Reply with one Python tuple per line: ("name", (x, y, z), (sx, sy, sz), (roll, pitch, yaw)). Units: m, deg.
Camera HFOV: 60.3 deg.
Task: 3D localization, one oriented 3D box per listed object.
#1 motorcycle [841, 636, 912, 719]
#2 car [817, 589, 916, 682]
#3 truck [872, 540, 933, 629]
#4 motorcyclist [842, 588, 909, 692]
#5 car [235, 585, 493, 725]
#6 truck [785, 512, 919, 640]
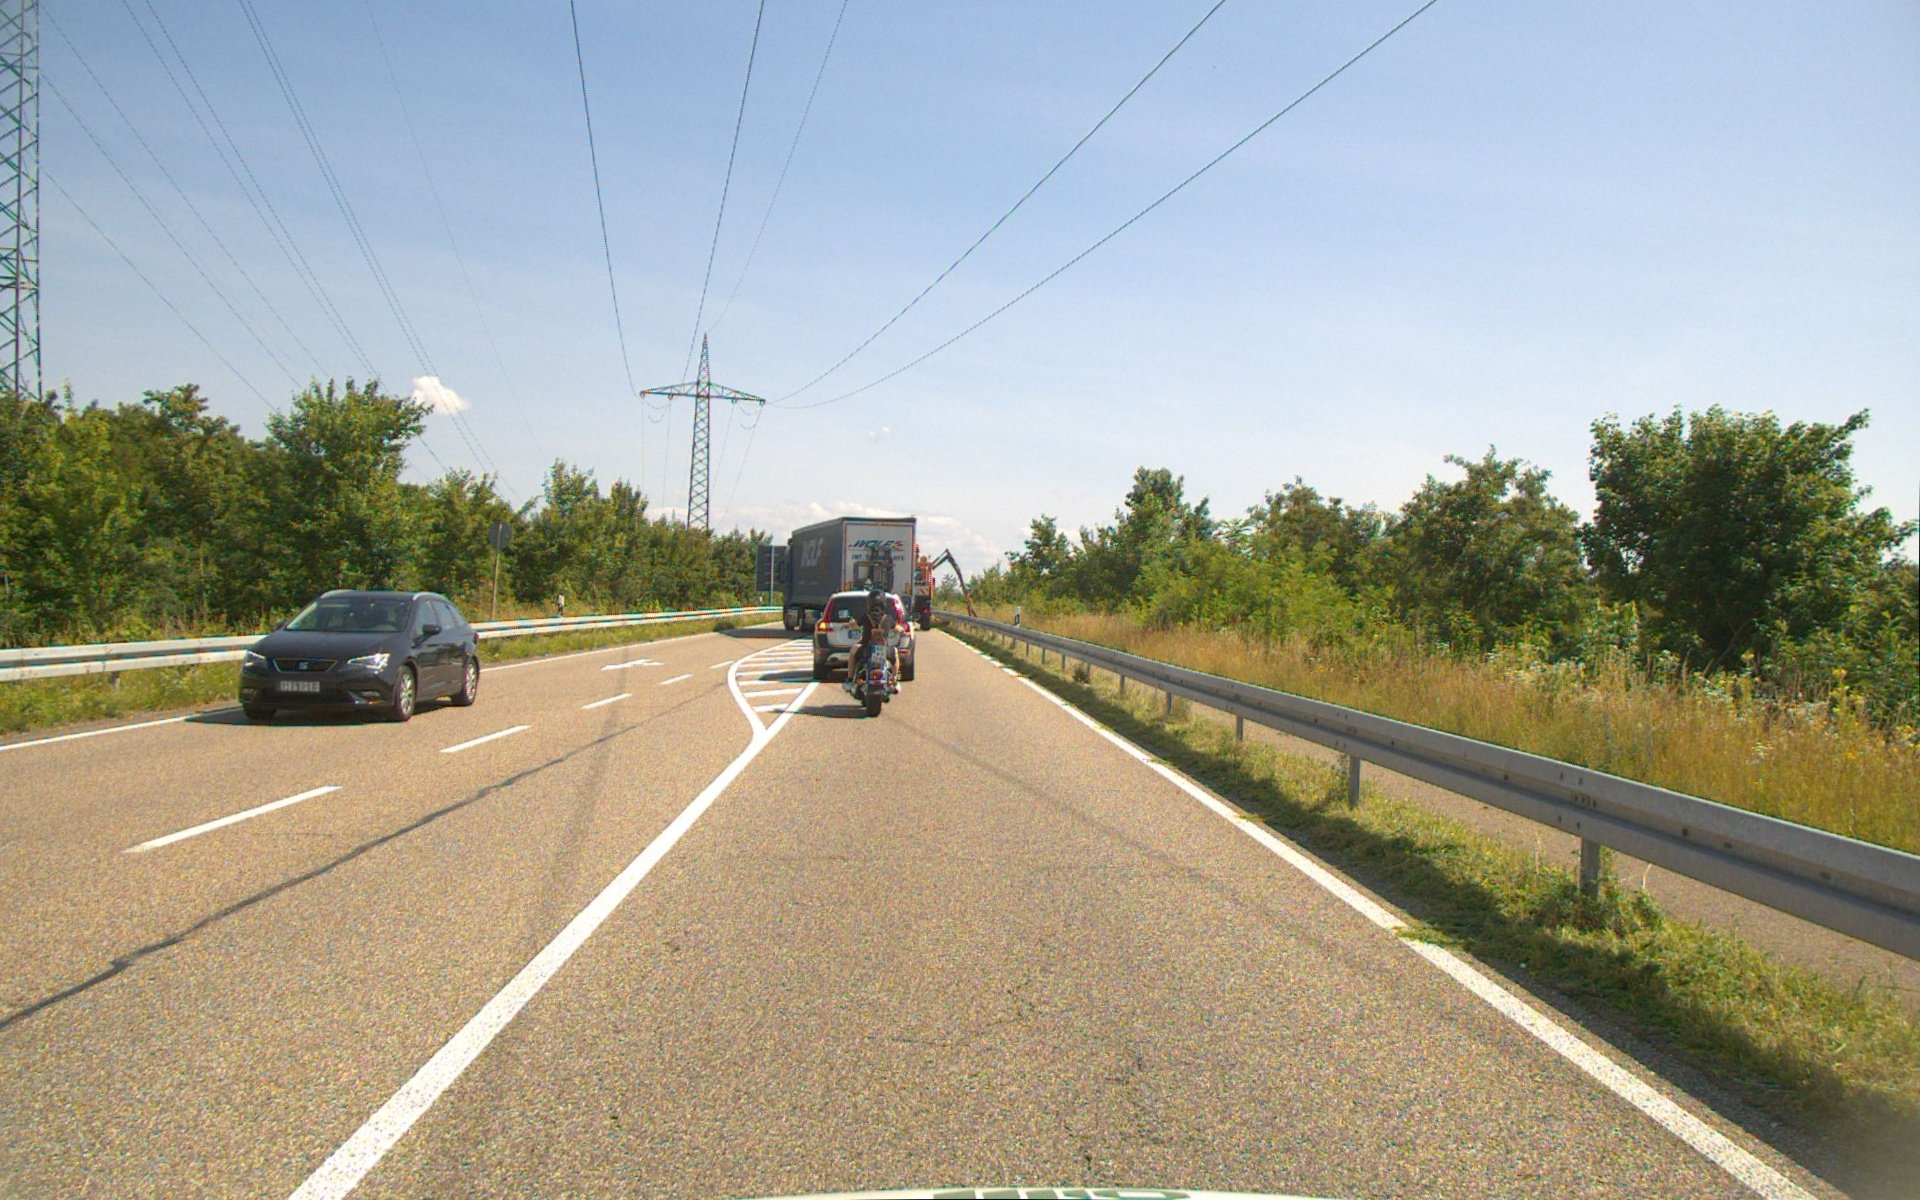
("motorcycle", (-1.095, 0.965, 21.215), (0.842, 0.931, 2.226), (2, 0, -4))
("car", (-1.722, 0.607, 30.009), (1.667, 1.563, 3.496), (1, 0, -4))
("truck", (-2.677, -0.683, 75.160), (2.562, 3.776, 6.773), (1, 0, -3))
("motorcyclist", (-1.103, 0.505, 21.349), (0.821, 1.303, 0.918), (1, 0, -4))
("car", (-6.920, 0.575, 19.669), (1.626, 1.467, 4.213), (1, 0, -2))
("truck", (-4.377, -0.844, 62.869), (2.916, 4.260, 14.776), (1, 0, -12))
